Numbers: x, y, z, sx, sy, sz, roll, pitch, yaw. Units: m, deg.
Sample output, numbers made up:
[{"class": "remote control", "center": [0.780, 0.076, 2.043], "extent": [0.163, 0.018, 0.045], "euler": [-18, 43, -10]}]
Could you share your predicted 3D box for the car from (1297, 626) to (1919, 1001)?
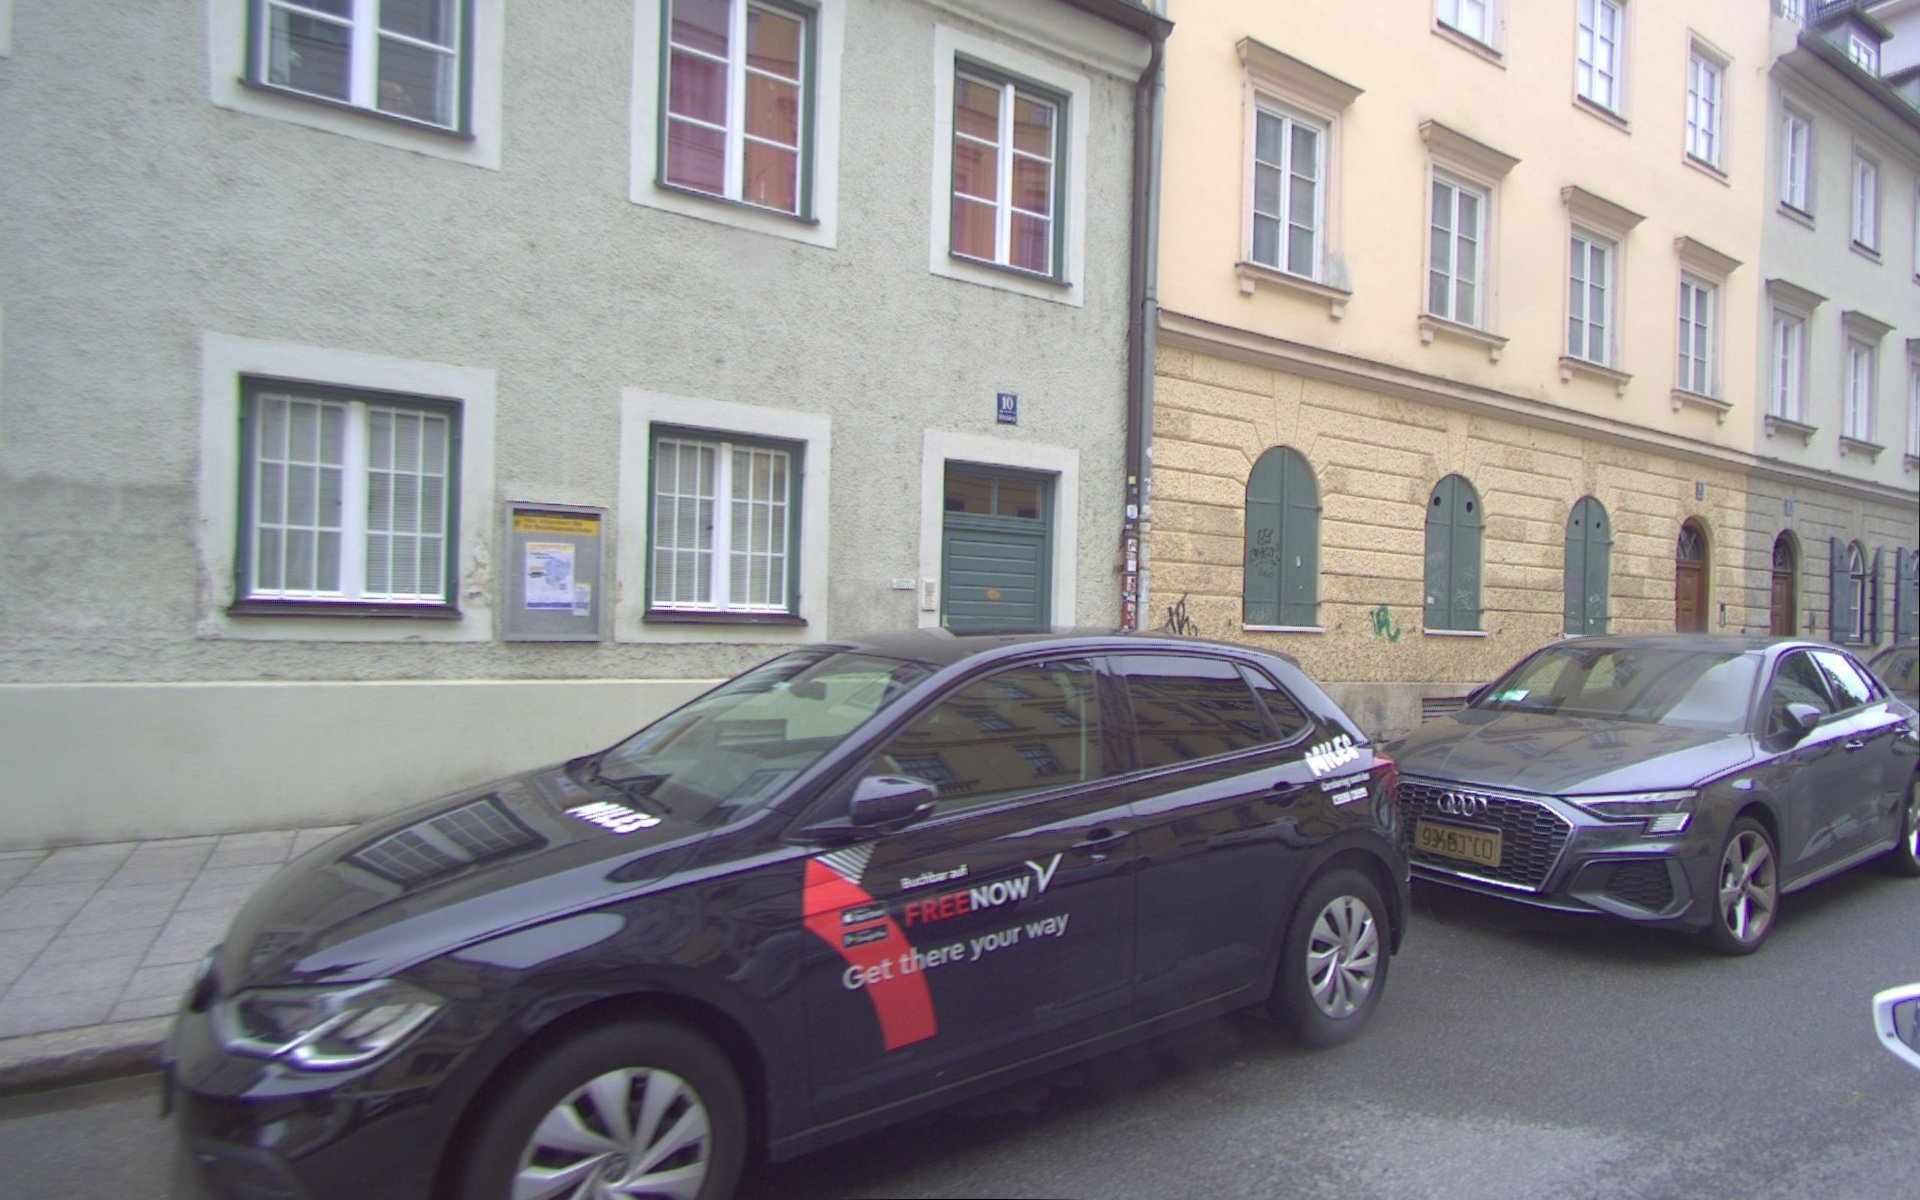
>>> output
[{"class": "car", "center": [4.029, 0.897, 5.881], "extent": [4.088, 1.461, 1.805], "euler": [1, -1, -34]}]

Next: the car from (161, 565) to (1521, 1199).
[{"class": "car", "center": [-0.031, 0.742, 3.533], "extent": [4.155, 1.516, 1.744], "euler": [2, 0, -33]}]

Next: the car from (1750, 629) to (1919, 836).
[{"class": "car", "center": [8.455, 1.002, 8.285], "extent": [4.057, 1.427, 1.745], "euler": [2, 0, -32]}]
